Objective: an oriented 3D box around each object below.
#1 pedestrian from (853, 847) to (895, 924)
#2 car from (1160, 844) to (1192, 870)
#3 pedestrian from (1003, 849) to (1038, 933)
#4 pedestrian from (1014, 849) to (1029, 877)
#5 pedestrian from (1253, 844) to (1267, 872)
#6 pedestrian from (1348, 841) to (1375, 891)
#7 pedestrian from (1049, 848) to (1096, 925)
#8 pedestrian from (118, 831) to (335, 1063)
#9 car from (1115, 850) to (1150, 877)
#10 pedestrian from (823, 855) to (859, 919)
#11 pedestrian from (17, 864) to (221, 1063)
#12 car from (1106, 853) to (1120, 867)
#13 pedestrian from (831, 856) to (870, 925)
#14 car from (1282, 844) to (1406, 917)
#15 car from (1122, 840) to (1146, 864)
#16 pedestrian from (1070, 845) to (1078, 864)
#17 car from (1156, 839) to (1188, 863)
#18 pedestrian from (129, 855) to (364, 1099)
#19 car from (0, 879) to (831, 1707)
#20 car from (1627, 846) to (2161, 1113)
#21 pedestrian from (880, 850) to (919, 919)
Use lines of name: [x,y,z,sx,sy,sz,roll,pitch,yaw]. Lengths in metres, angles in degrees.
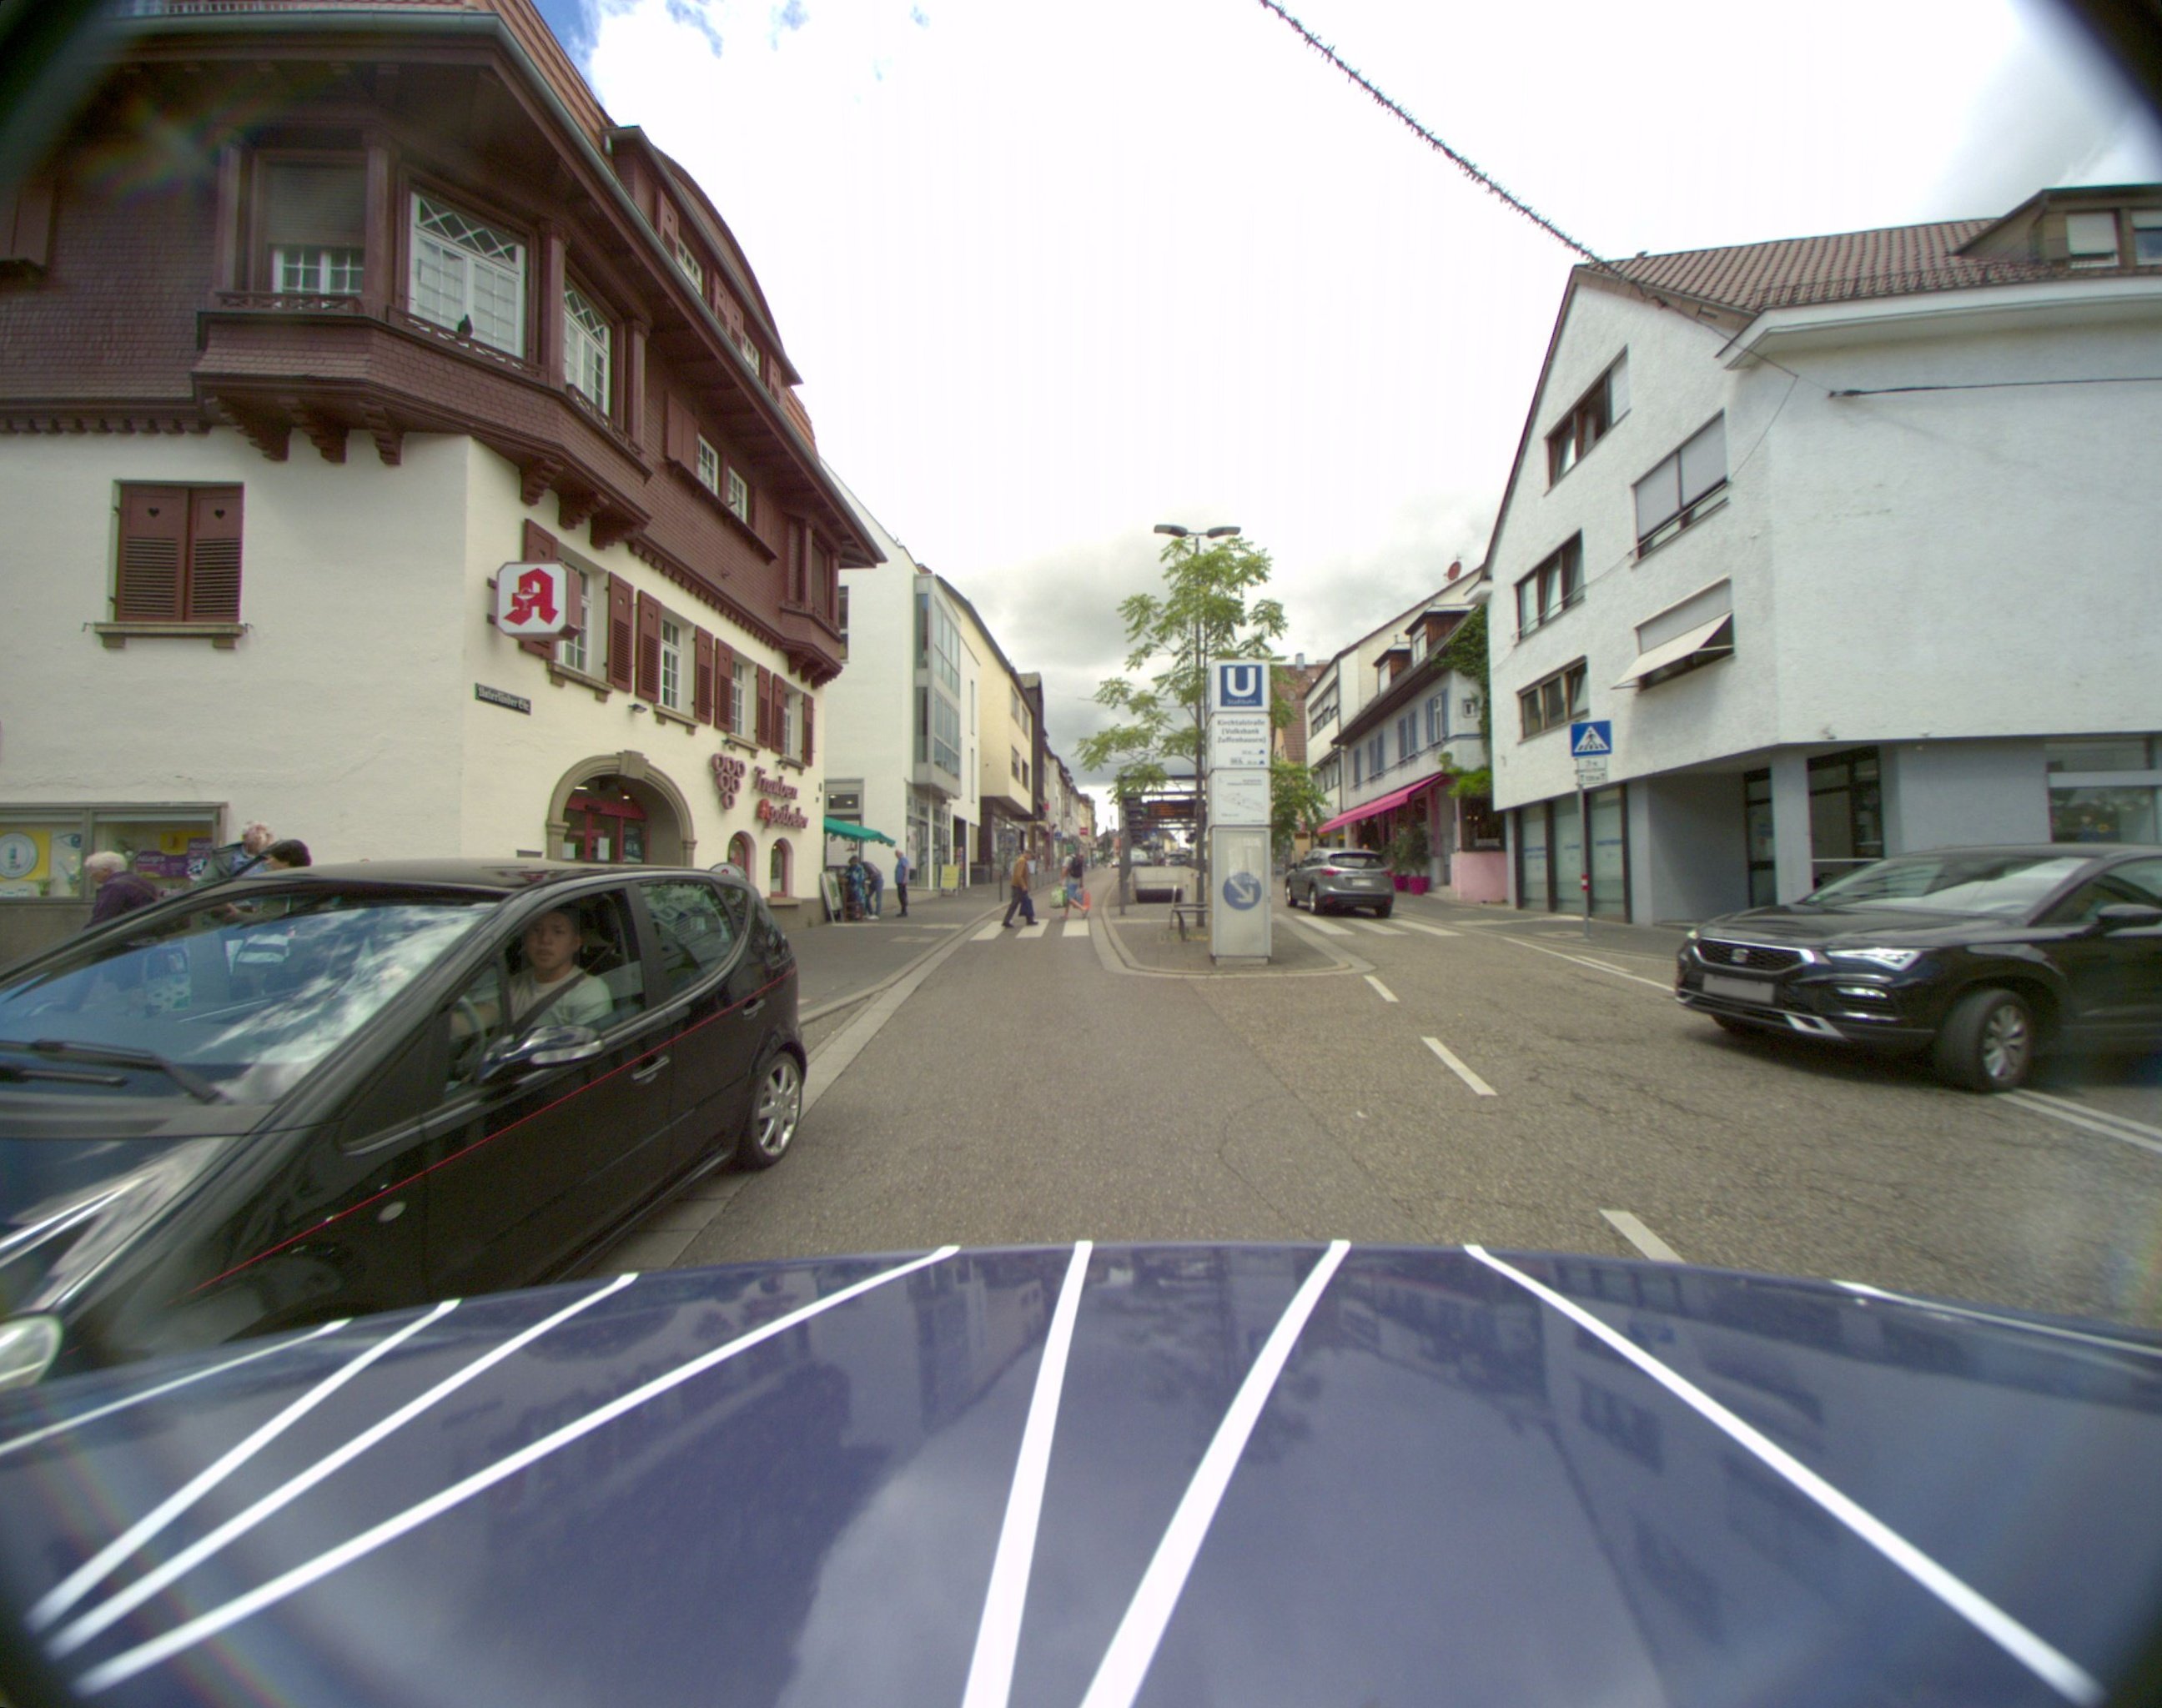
pedestrian: [-5.160,0.764,18.944,0.704,1.846,0.778,-1,1,-44]
car: [5.979,0.177,48.029,1.703,1.539,3.899,-2,0,4]
pedestrian: [-1.328,0.790,16.667,0.676,1.791,0.788,-1,1,-10]
pedestrian: [-3.537,0.523,45.284,0.759,1.663,0.780,2,1,1]
pedestrian: [11.049,0.217,46.905,0.748,1.704,0.664,-1,1,4]
pedestrian: [9.860,0.413,26.686,0.695,1.730,0.825,0,1,6]
pedestrian: [-0.184,0.747,18.053,0.918,1.777,0.988,0,0,11]
pedestrian: [-6.914,0.711,6.200,0.776,1.759,0.818,-2,1,5]
car: [3.204,0.564,47.824,1.998,1.557,4.432,-2,0,2]
pedestrian: [-6.169,0.834,19.547,0.625,1.603,0.703,-1,1,8]
pedestrian: [-8.063,0.865,6.406,0.725,1.522,0.808,2,1,9]
car: [4.876,0.864,114.252,1.998,2.002,4.001,-1,0,4]
pedestrian: [-5.496,0.867,18.126,0.625,1.603,0.703,-1,1,8]
car: [6.570,0.593,19.523,1.967,1.611,4.356,-2,0,5]
car: [3.768,-0.133,54.031,1.576,1.600,3.534,-2,0,4]
pedestrian: [-0.616,0.053,69.292,0.663,1.696,0.780,-1,1,1]
car: [6.521,-0.233,55.033,1.998,1.580,4.495,-2,0,4]
pedestrian: [-6.103,0.833,5.613,0.774,1.636,0.870,1,1,9]
car: [-2.563,0.938,2.725,1.807,1.546,3.954,0,0,3]
car: [6.823,0.779,5.532,4.370,1.560,1.914,1,0,-4]
pedestrian: [-4.697,0.781,19.671,0.701,1.756,0.627,0,1,29]
